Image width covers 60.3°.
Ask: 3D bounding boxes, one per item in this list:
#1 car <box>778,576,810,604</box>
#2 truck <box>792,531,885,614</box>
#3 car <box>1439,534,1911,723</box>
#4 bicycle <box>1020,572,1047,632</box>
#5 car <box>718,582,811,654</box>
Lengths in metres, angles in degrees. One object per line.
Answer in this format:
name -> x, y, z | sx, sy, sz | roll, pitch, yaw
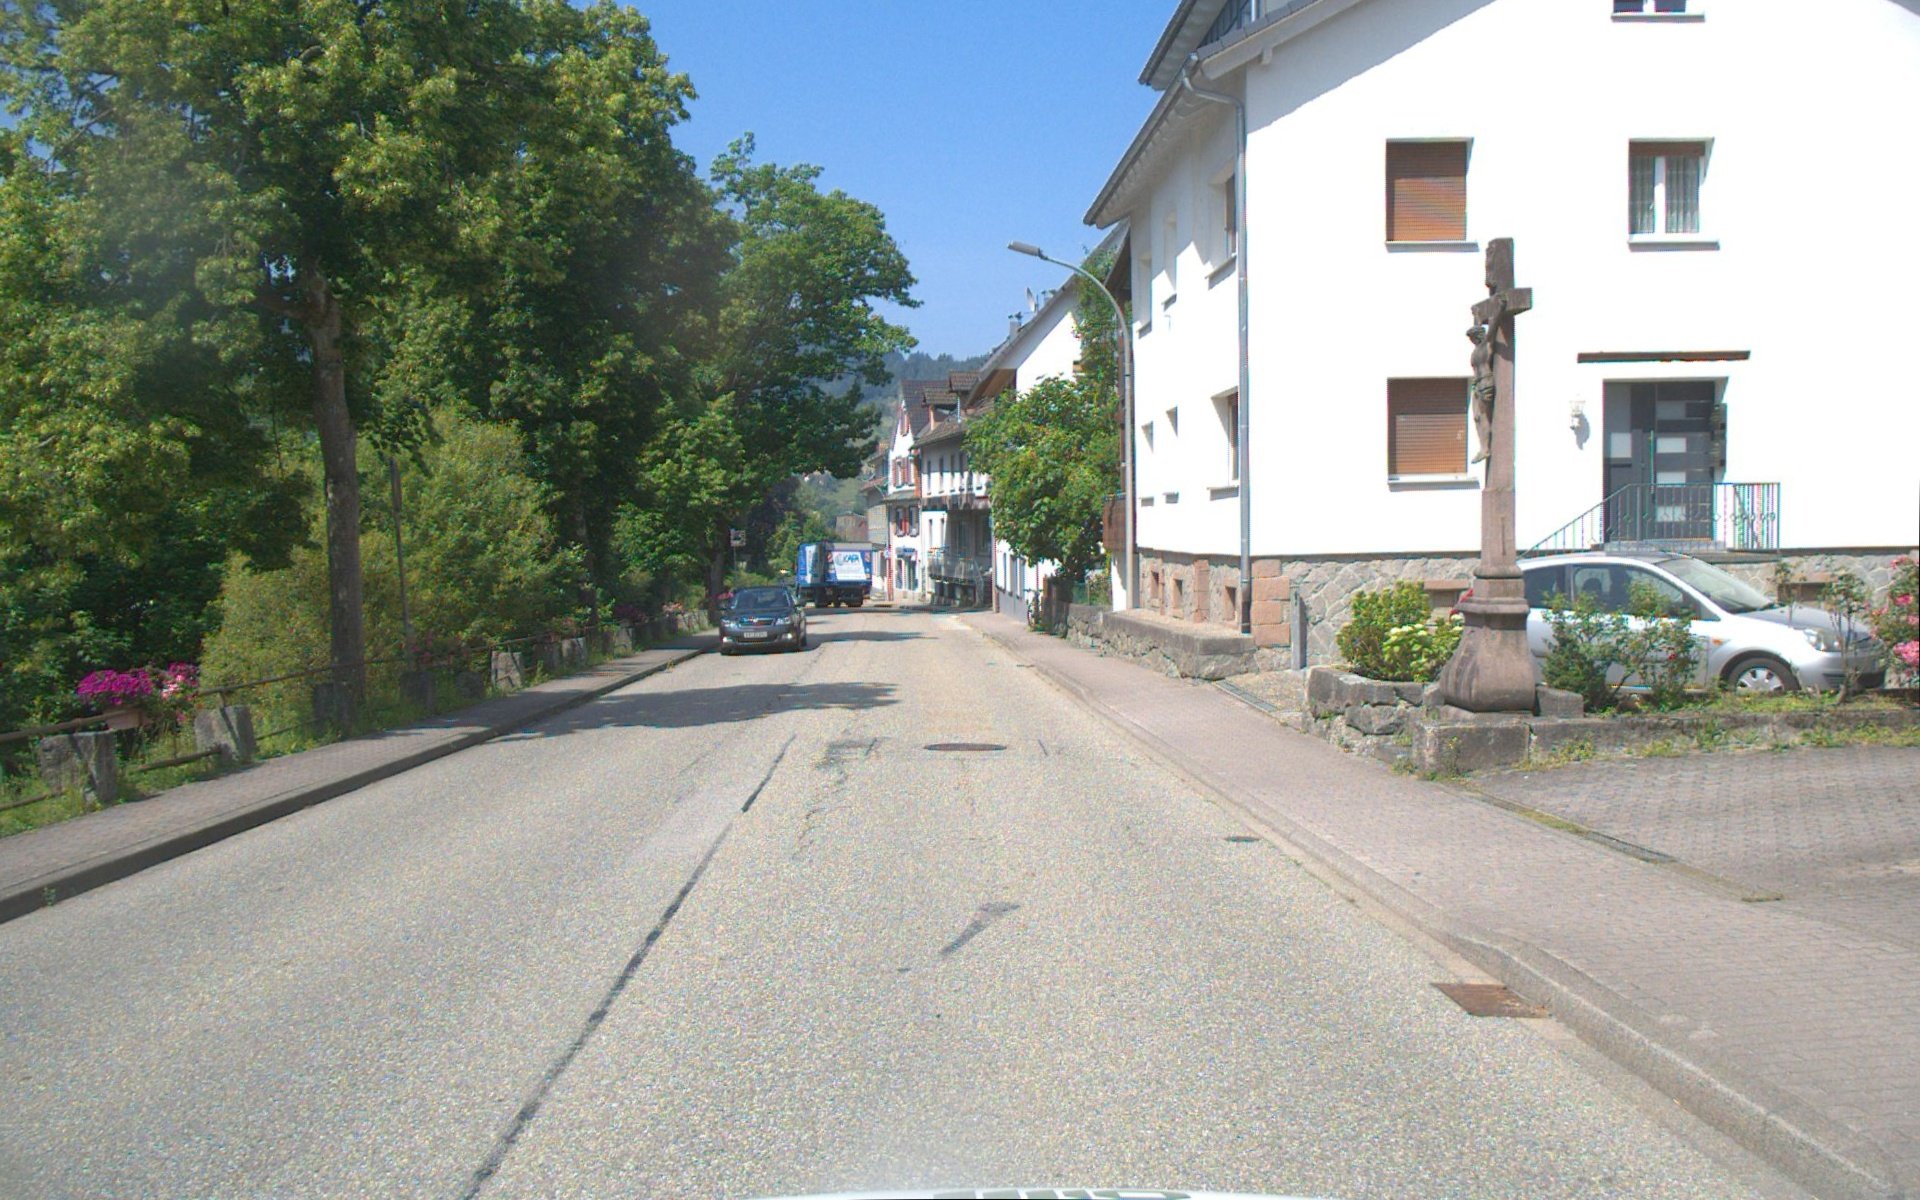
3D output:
car -> -12.435, -0.732, 123.728 | 1.744, 1.764, 3.987 | -4, -1, -13
truck -> -6.682, -1.393, 89.655 | 3.309, 3.847, 8.404 | -4, -1, -15
car -> 6.579, 0.207, 15.435 | 3.711, 1.451, 1.600 | 0, 5, 43
bicycle -> 1.848, 0.028, 41.708 | 0.417, 1.420, 2.276 | -4, 1, -2
car -> -4.308, 0.372, 36.951 | 1.633, 1.442, 4.085 | -3, 0, -2
